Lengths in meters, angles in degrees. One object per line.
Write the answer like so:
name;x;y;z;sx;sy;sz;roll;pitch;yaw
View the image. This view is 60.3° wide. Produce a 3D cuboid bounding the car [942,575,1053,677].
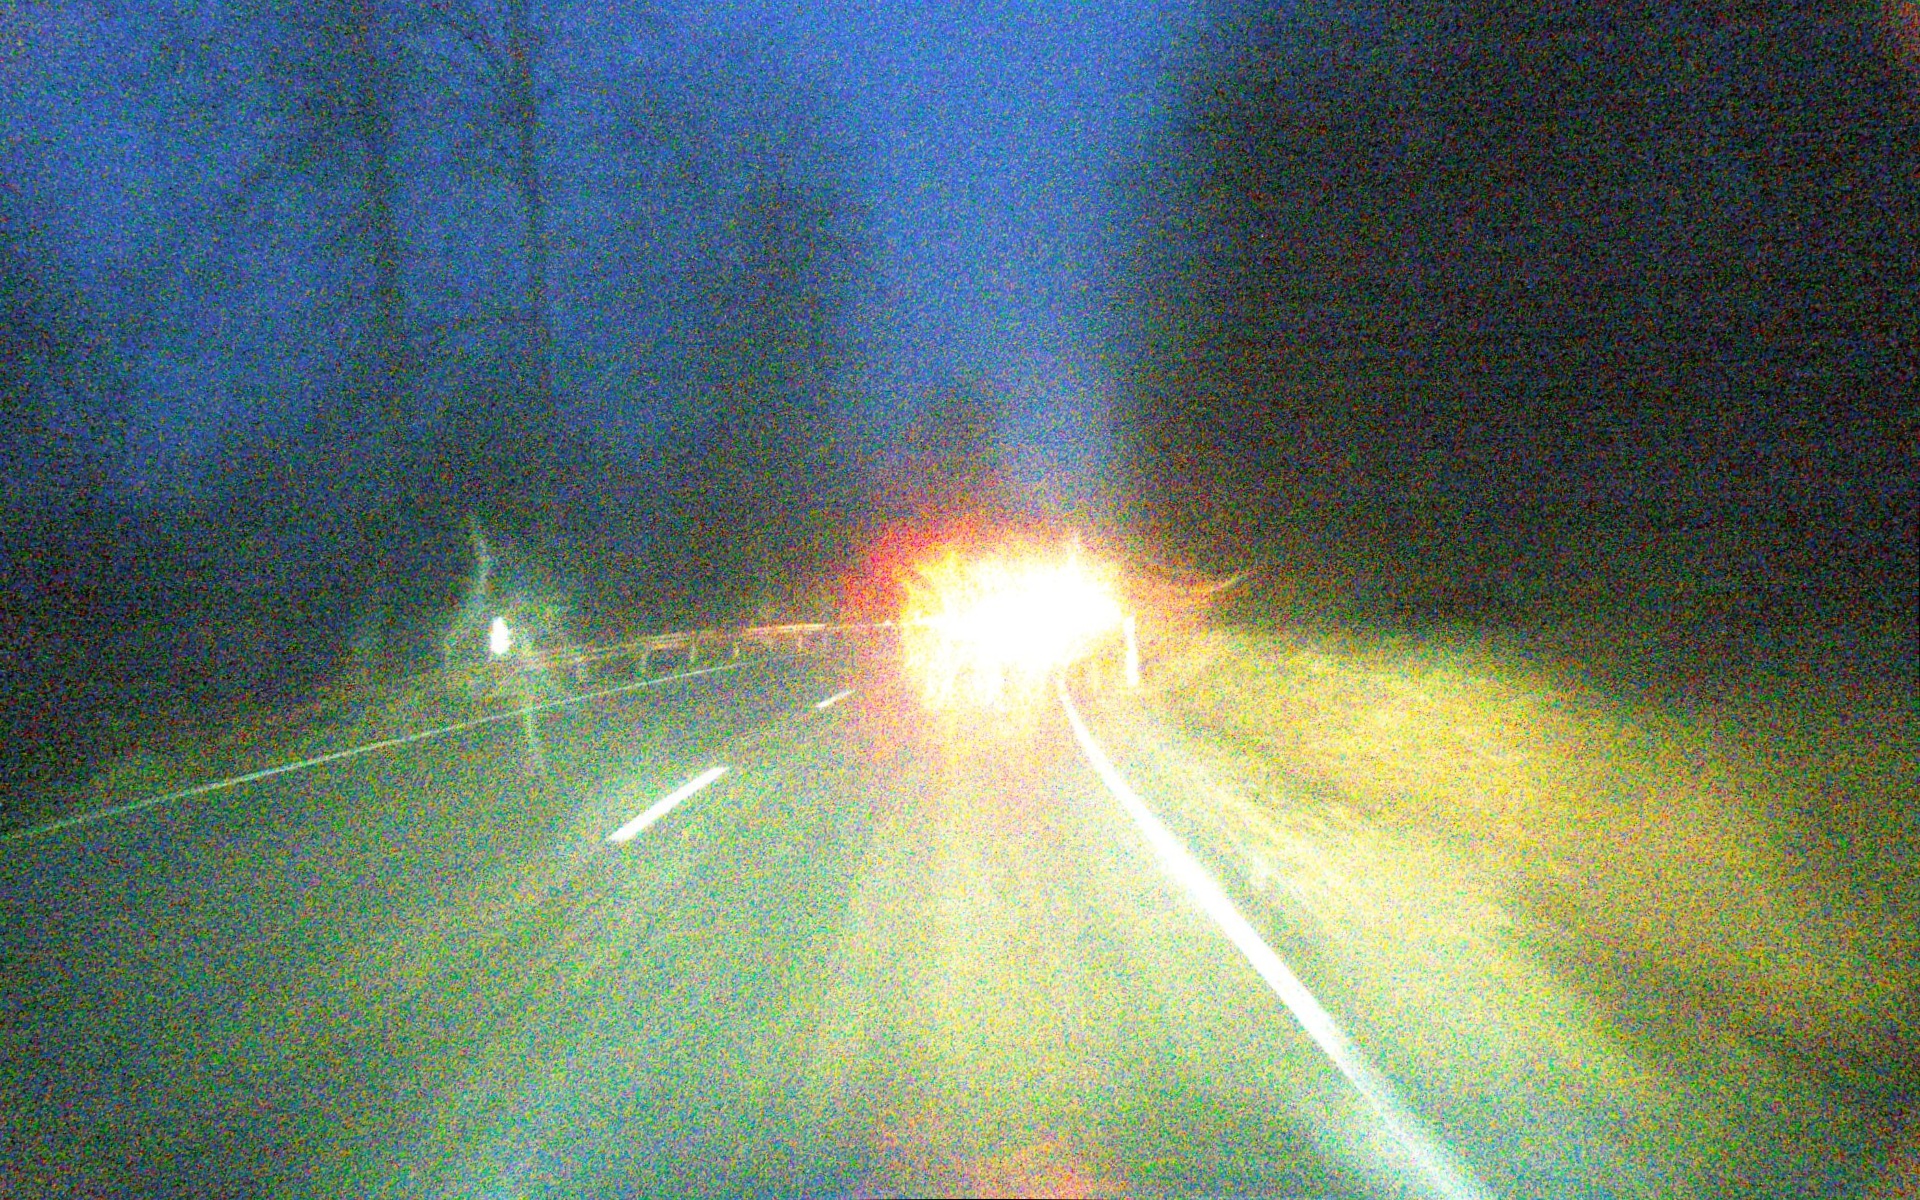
car;0.825;0.471;33.668;1.952;1.838;3.920;-3;1;5
